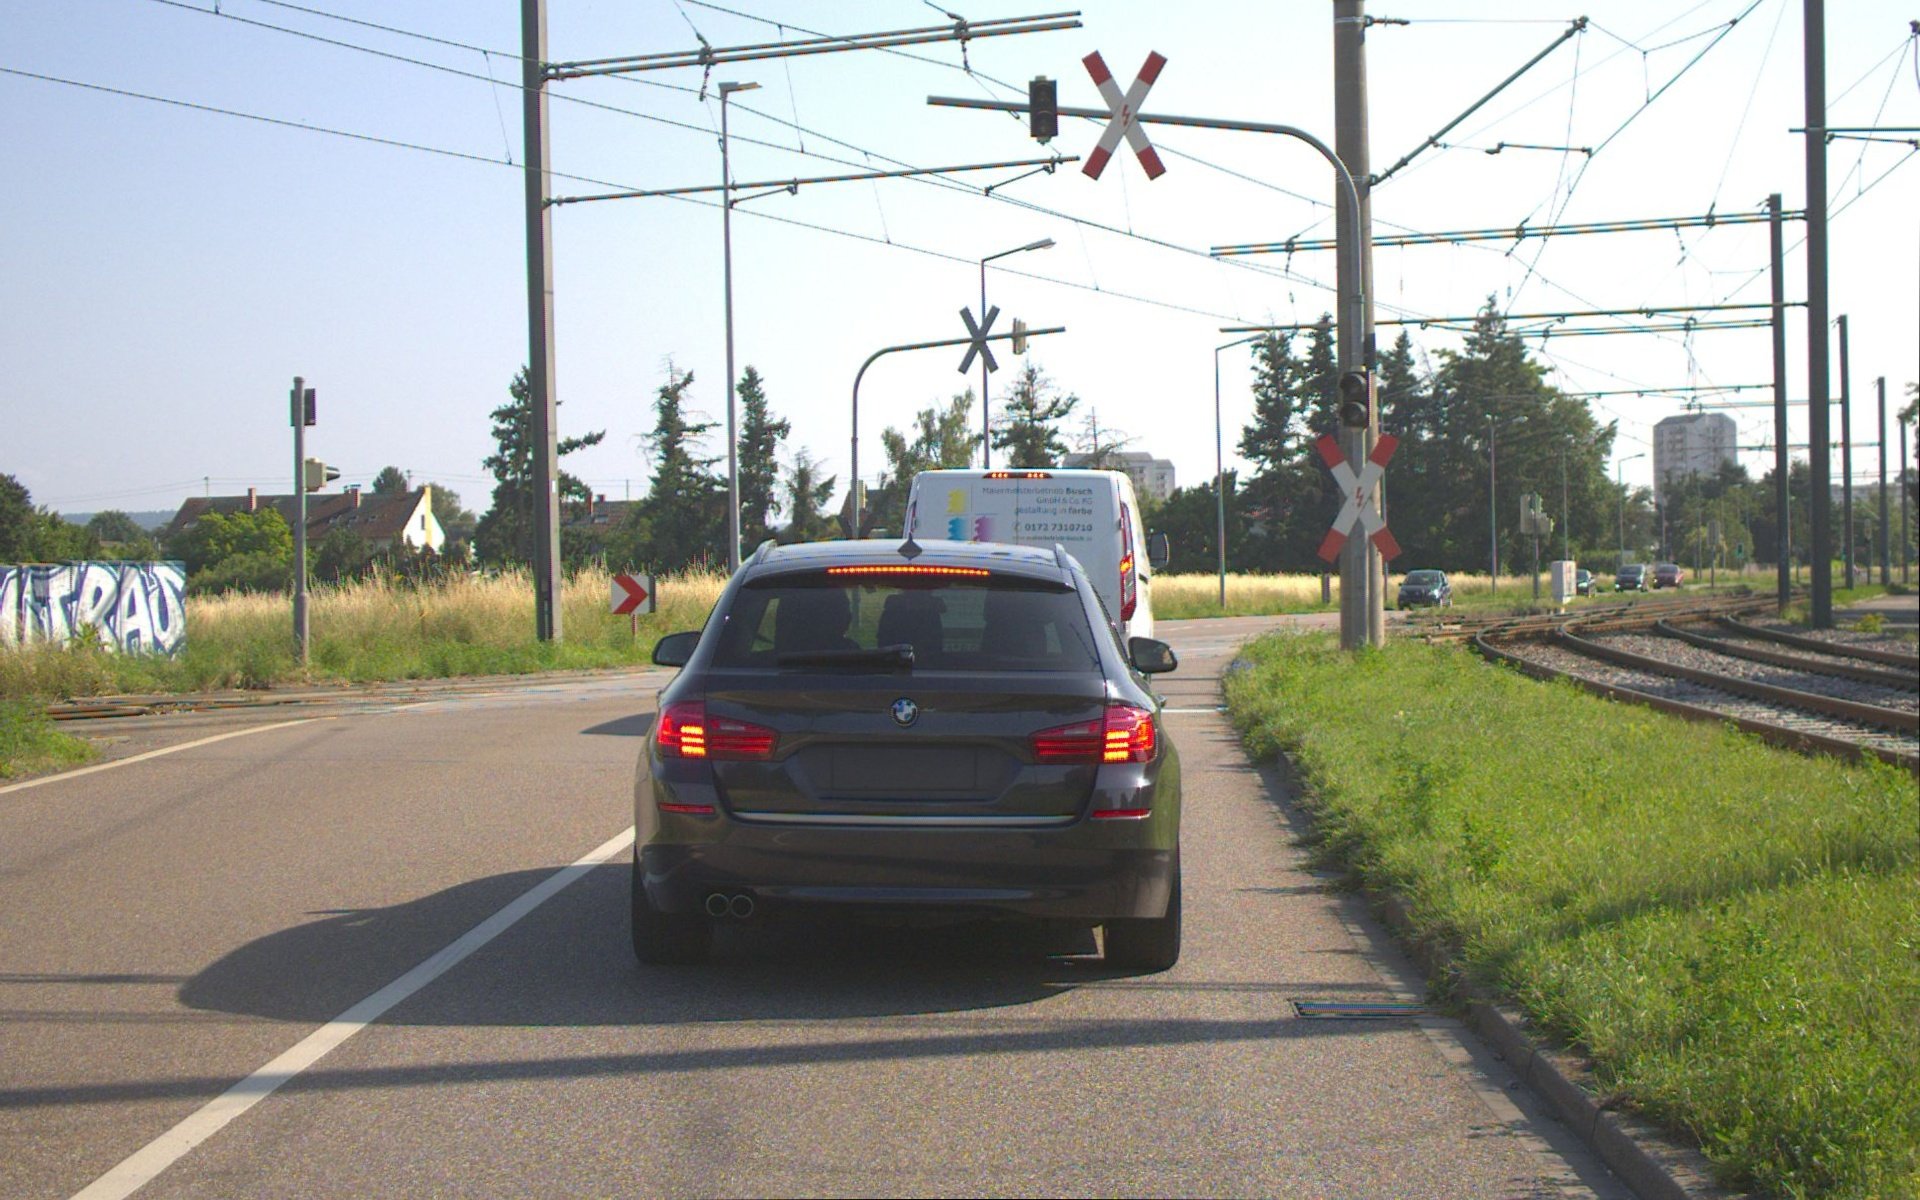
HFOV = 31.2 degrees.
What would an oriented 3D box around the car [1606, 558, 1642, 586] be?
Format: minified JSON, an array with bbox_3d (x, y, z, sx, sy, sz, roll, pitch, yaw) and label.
[{"bbox_3d":[39.270,-1.680,203.284,1.707,1.659,4.586,0,1,16],"label":"car"}]

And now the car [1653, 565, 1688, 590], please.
[{"bbox_3d":[45.882,-1.452,221.957,1.714,1.544,3.925,0,1,18],"label":"car"}]

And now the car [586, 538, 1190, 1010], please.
[{"bbox_3d":[-0.228,0.497,13.022,1.869,1.447,4.744,0,1,0],"label":"car"}]

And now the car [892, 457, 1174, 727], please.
[{"bbox_3d":[0.693,-0.096,27.908,1.858,1.981,5.107,0,1,6],"label":"car"}]
